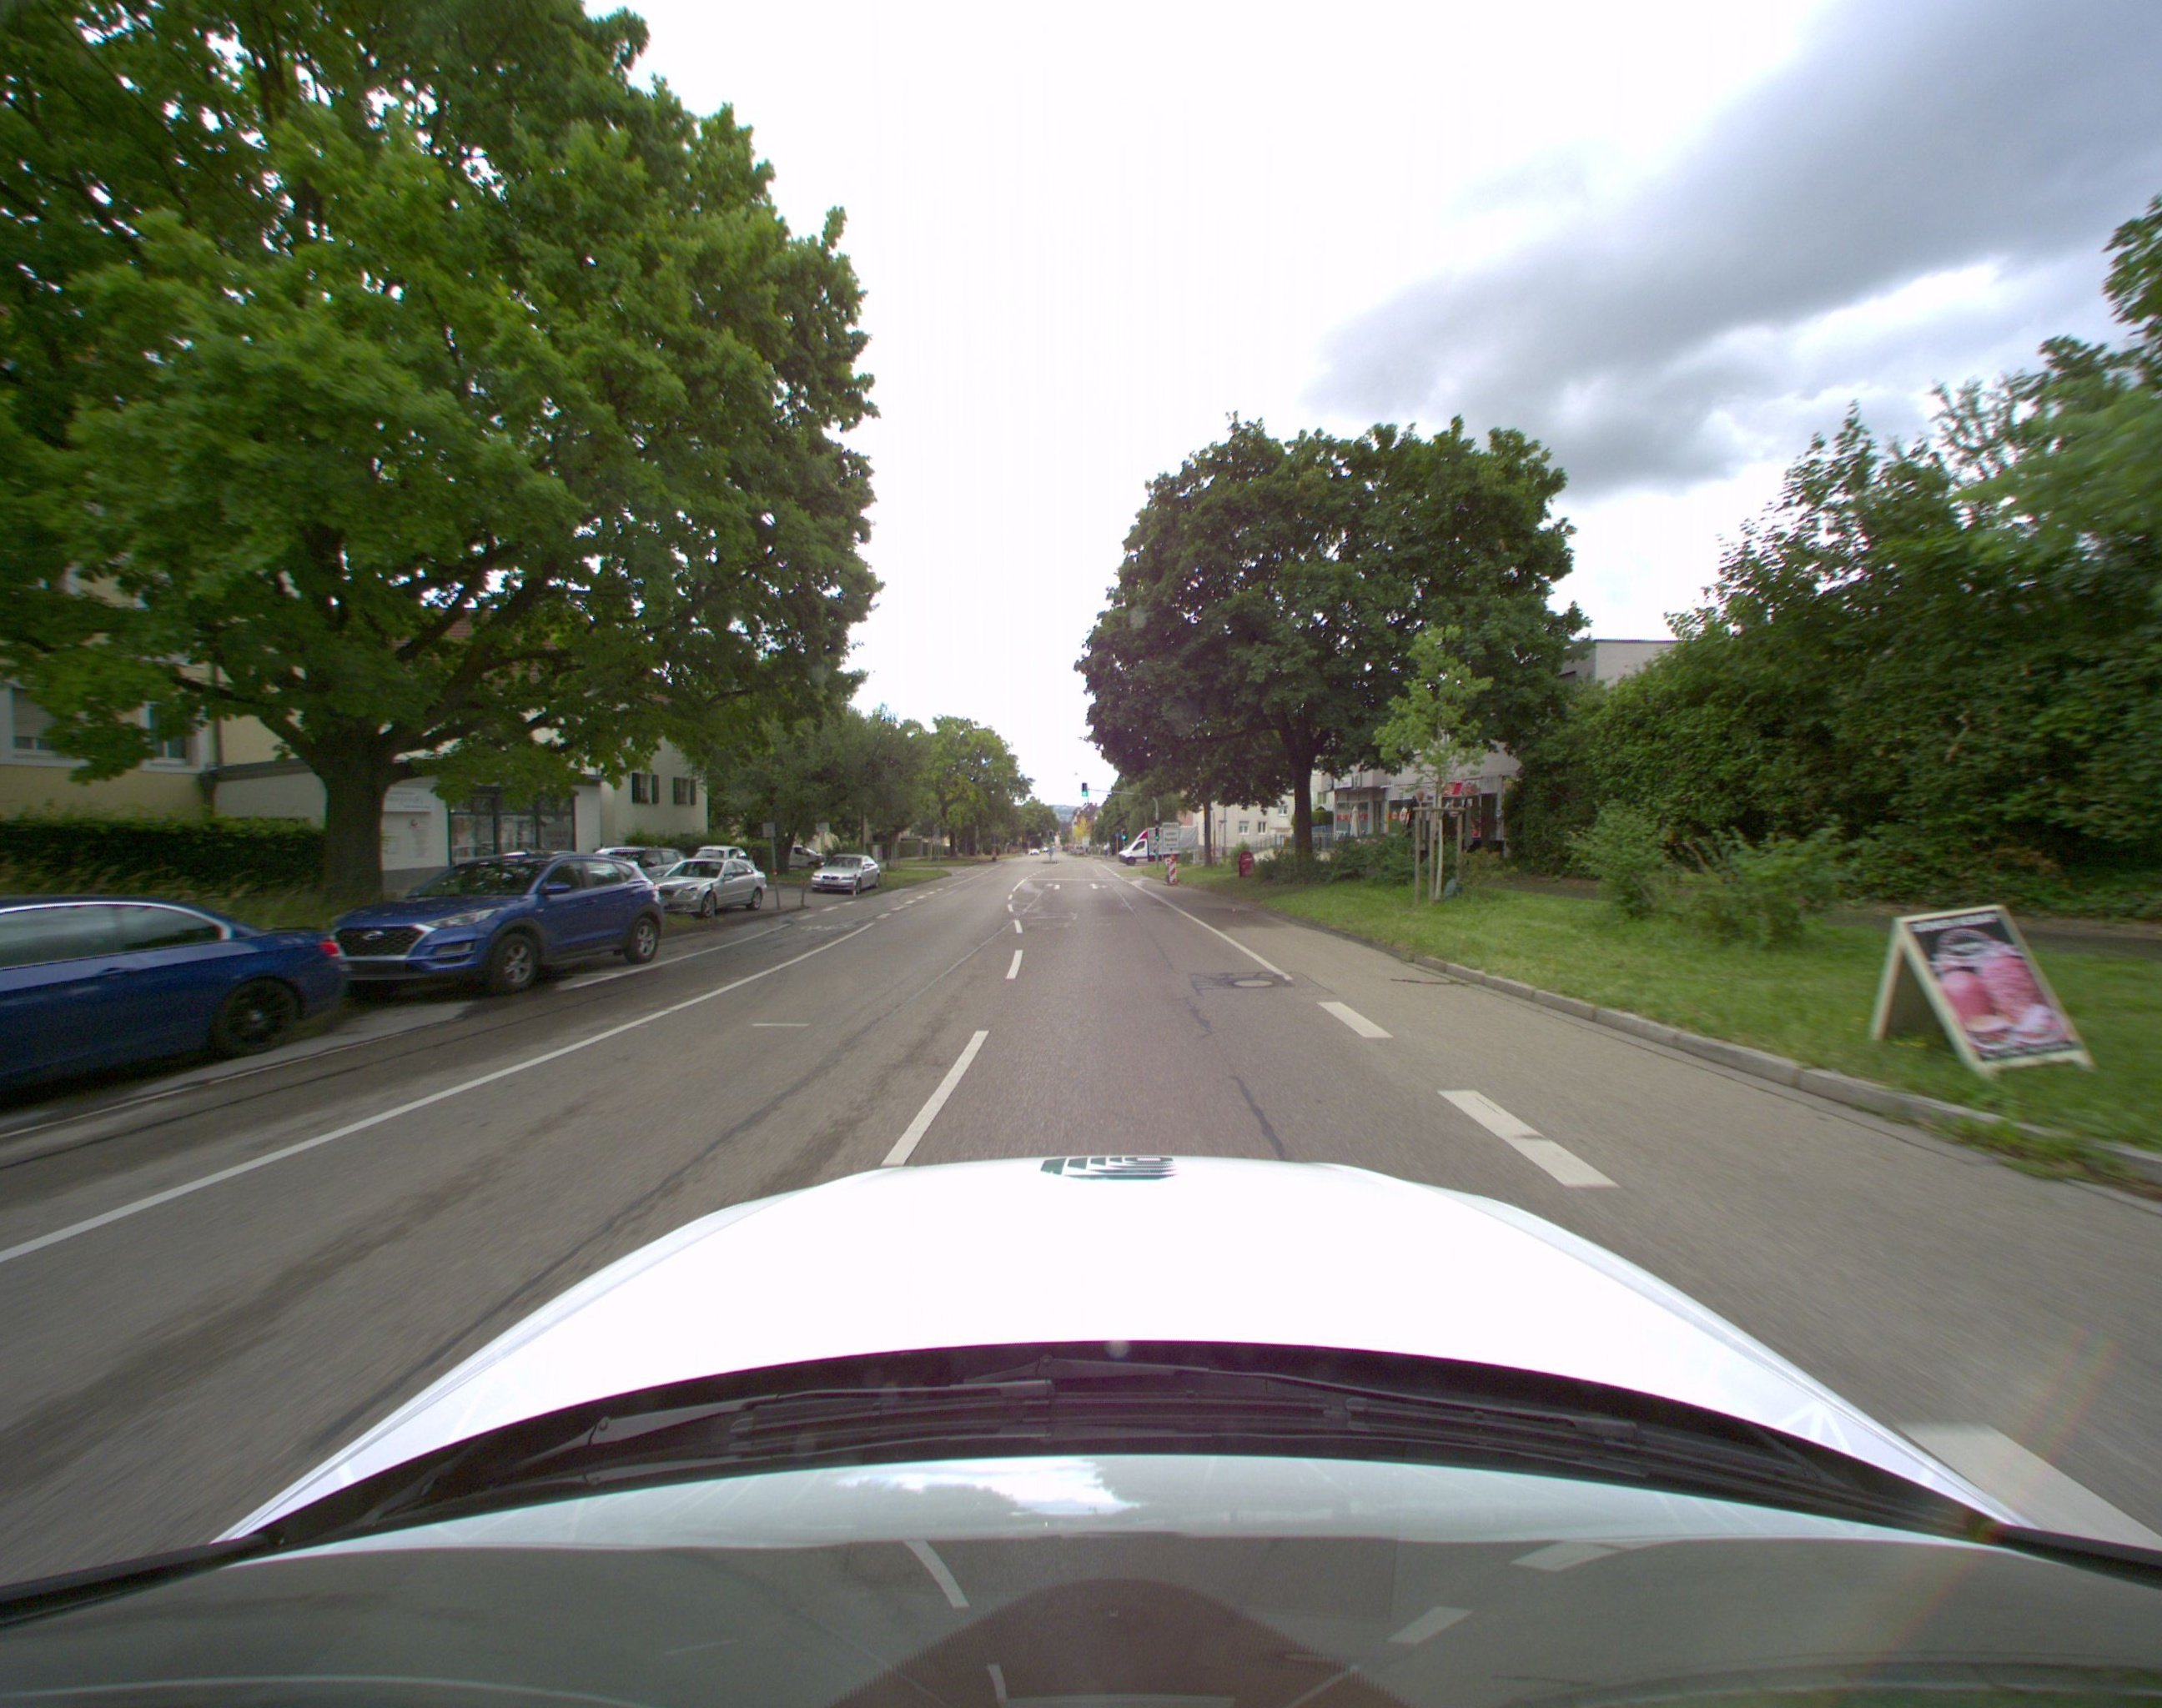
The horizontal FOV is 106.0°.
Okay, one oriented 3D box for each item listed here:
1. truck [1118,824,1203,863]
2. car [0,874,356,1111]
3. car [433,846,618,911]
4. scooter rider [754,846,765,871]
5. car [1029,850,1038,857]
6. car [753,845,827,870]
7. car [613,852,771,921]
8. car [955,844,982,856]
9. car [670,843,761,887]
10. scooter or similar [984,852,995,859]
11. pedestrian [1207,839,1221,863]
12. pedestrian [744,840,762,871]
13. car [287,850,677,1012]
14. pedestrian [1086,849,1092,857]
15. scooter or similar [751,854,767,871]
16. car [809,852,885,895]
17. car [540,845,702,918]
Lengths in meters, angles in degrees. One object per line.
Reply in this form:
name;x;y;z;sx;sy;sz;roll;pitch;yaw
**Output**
truck;6.900;-0.930;71.460;7.207;3.307;2.538;0;0;-2
car;-7.464;0.883;5.215;1.709;1.389;4.339;0;0;1
car;-14.372;0.569;21.445;1.756;1.470;4.440;3;0;0
scooter rider;-16.825;0.220;42.634;0.349;1.276;0.559;1;0;-1
car;-10.939;-0.189;186.950;1.989;1.505;3.996;1;0;-3
car;-22.393;0.249;62.872;4.982;1.813;1.998;1;0;-4
car;-9.659;0.735;20.661;1.755;1.535;4.394;1;0;2
car;-15.015;-0.536;108.818;3.441;1.596;1.998;1;0;-4
car;-14.621;0.399;32.836;1.756;1.633;4.286;1;0;-1
scooter or similar;-14.072;0.199;124.815;1.693;1.082;0.744;1;0;-10
pedestrian;10.949;-0.253;67.116;0.749;1.855;0.950;-3;1;-16
pedestrian;-17.636;0.084;43.798;0.628;1.613;0.829;1;0;-4
car;-7.356;0.786;10.739;1.709;1.612;4.536;0;1;1
pedestrian;1.801;-0.314;186.856;1.196;1.810;1.300;1;0;-1
scooter or similar;-16.820;0.446;42.568;0.324;0.843;1.201;1;0;0
car;-9.585;0.752;33.754;1.756;1.633;4.752;1;0;0
car;-11.754;0.634;21.171;1.755;1.633;4.002;3;0;2
